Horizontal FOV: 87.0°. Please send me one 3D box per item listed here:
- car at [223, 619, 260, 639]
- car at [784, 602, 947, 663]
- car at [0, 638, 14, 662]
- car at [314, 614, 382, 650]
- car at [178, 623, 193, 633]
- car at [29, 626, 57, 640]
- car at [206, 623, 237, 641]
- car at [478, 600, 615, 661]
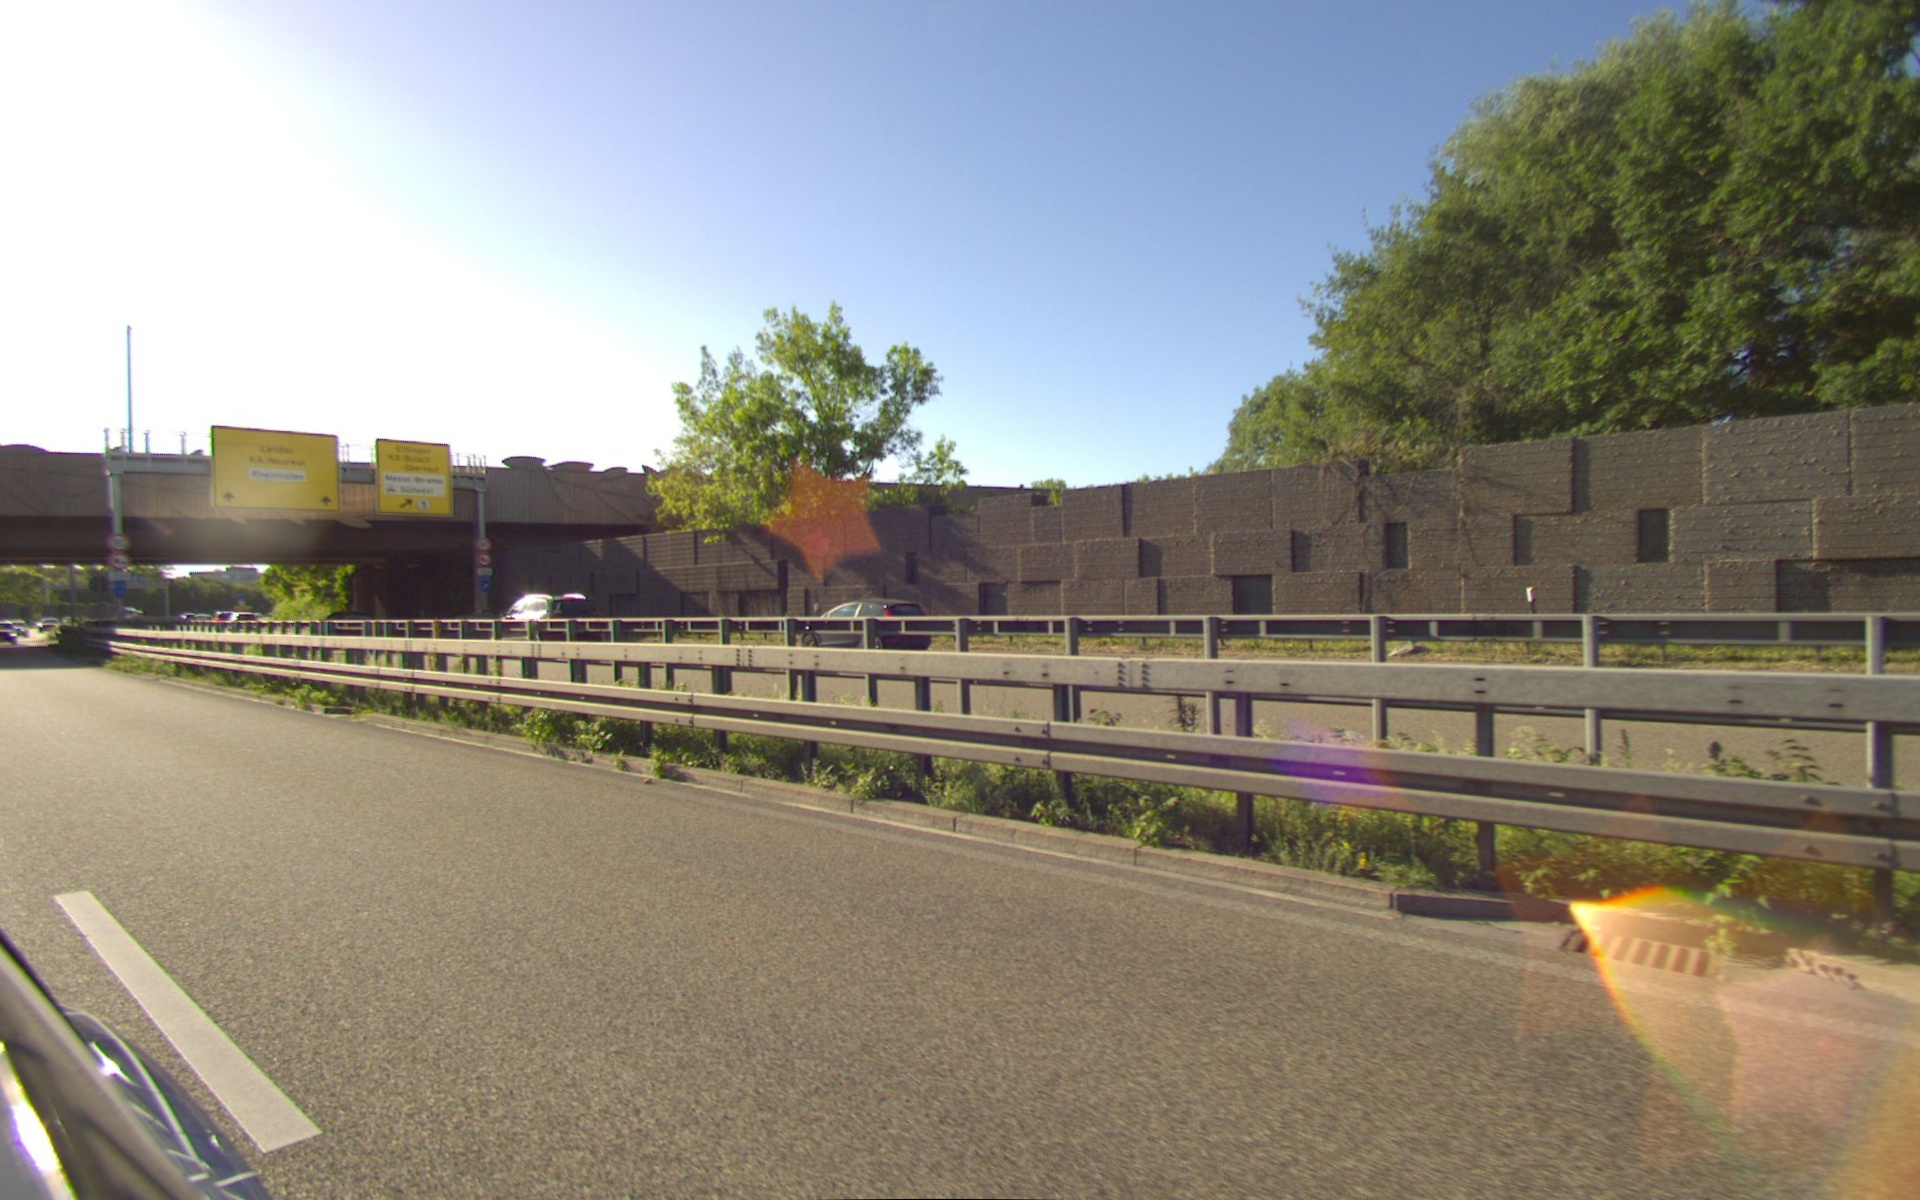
[{"bbox_3d":[-62.229,2.517,87.577,1.970,1.608,4.430,-1,0,-44],"label":"car"},{"bbox_3d":[-2.493,0.834,26.009,4.134,1.432,1.877,-2,-2,43],"label":"car"},{"bbox_3d":[-60.802,3.167,63.381,1.969,1.425,4.838,-2,0,-40],"label":"car"},{"bbox_3d":[-29.181,1.535,48.204,4.395,1.585,1.529,-2,1,43],"label":"car"},{"bbox_3d":[-134.491,4.860,175.653,1.968,1.653,4.730,-2,0,-38],"label":"car"},{"bbox_3d":[-103.920,3.701,114.759,1.968,1.425,4.840,-2,0,-38],"label":"car"},{"bbox_3d":[-73.620,3.229,100.885,1.970,1.719,4.565,0,-1,-44],"label":"car"},{"bbox_3d":[-12.426,0.920,30.274,4.807,1.585,1.877,-2,1,43],"label":"car"}]
